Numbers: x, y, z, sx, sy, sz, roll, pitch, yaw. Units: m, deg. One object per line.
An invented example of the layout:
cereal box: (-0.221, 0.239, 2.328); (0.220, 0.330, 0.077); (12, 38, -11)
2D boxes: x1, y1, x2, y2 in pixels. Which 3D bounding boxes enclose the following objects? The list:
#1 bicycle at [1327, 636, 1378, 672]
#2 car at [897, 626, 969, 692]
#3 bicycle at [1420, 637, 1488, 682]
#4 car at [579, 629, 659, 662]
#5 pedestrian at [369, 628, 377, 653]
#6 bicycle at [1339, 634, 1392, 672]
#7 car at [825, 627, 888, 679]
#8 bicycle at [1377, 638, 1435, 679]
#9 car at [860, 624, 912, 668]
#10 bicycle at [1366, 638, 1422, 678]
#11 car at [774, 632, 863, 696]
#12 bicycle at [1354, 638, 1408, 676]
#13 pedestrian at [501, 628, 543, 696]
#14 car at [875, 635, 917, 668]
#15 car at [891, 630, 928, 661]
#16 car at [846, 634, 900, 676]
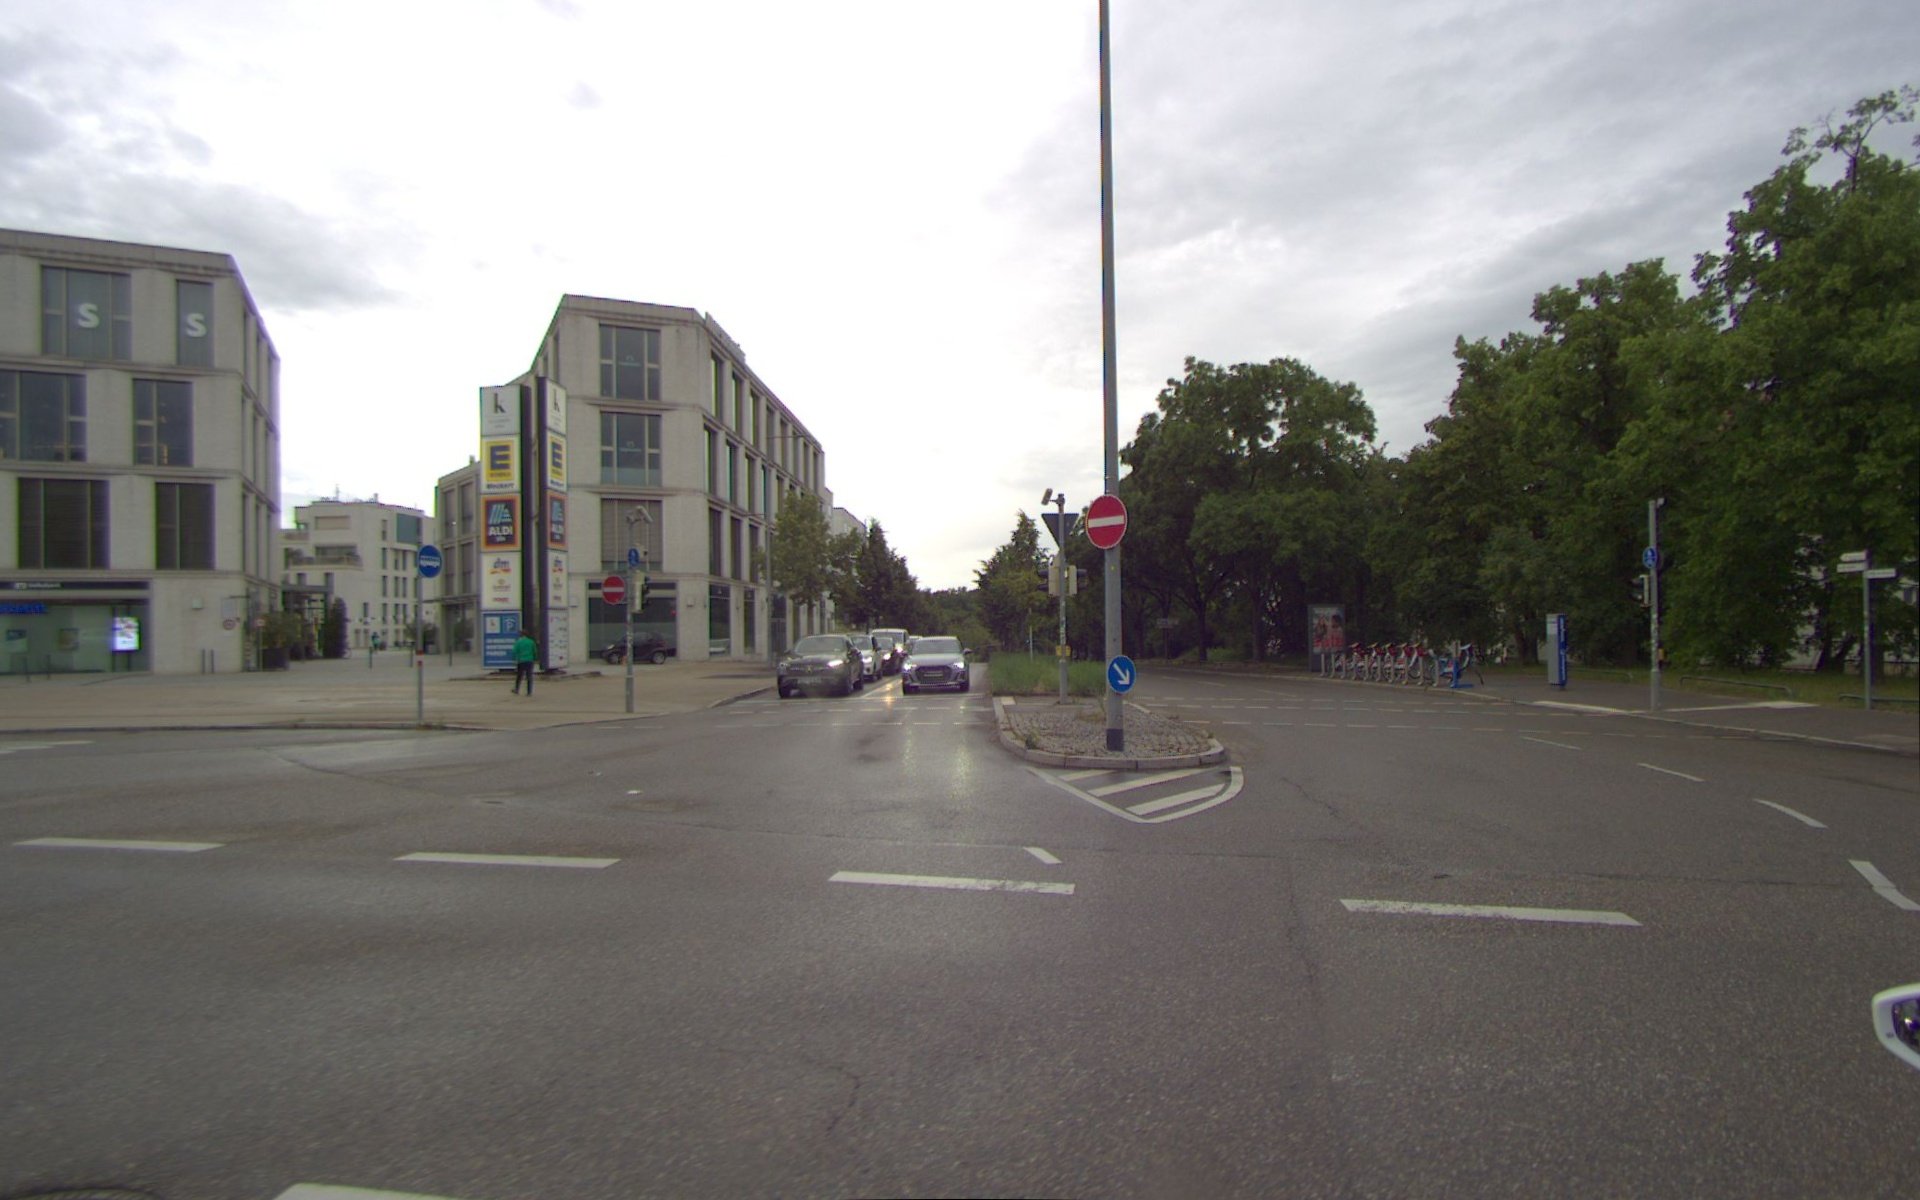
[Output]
bicycle: (13.458, 1.850, 34.424); (1.462, 1.146, 0.556); (-3, -2, -5)
car: (-0.679, 1.572, 27.832); (1.818, 1.596, 4.165); (0, 0, 0)
bicycle: (13.779, 1.652, 28.049); (1.571, 1.146, 0.556); (-3, -2, -5)
car: (-15.294, 2.021, 45.020); (3.251, 1.395, 1.558); (1, -2, -25)
pedestrian: (-44.762, 3.092, 76.541); (0.455, 1.869, 0.484); (0, -1, -24)
bicycle: (13.514, 1.766, 33.508); (1.462, 1.146, 0.556); (-3, -2, -5)
car: (-3.509, 1.785, 34.568); (1.622, 1.597, 3.703); (-2, -1, 2)
bicycle: (13.624, 1.774, 30.716); (1.462, 1.146, 0.556); (-3, -2, -5)
car: (-3.247, 2.017, 45.041); (1.813, 1.826, 4.774); (0, -1, 2)
bicycle: (13.607, 1.807, 31.528); (1.462, 1.146, 0.556); (-3, -2, -5)
car: (-3.821, 1.705, 27.755); (1.795, 1.539, 4.064); (-2, -1, 0)
bicycle: (13.552, 1.836, 32.364); (1.462, 1.146, 0.556); (-3, -2, -5)
pedestrian: (-11.208, 1.566, 25.717); (0.669, 1.709, 0.750); (-1, -2, 31)
car: (-3.185, 2.588, 50.990); (1.714, 1.487, 4.061); (-2, -1, 2)
car: (-2.961, 2.656, 59.598); (1.798, 1.622, 4.675); (-2, -1, 2)
car: (-3.377, 2.120, 39.469); (1.686, 1.479, 3.751); (-2, -1, 1)
